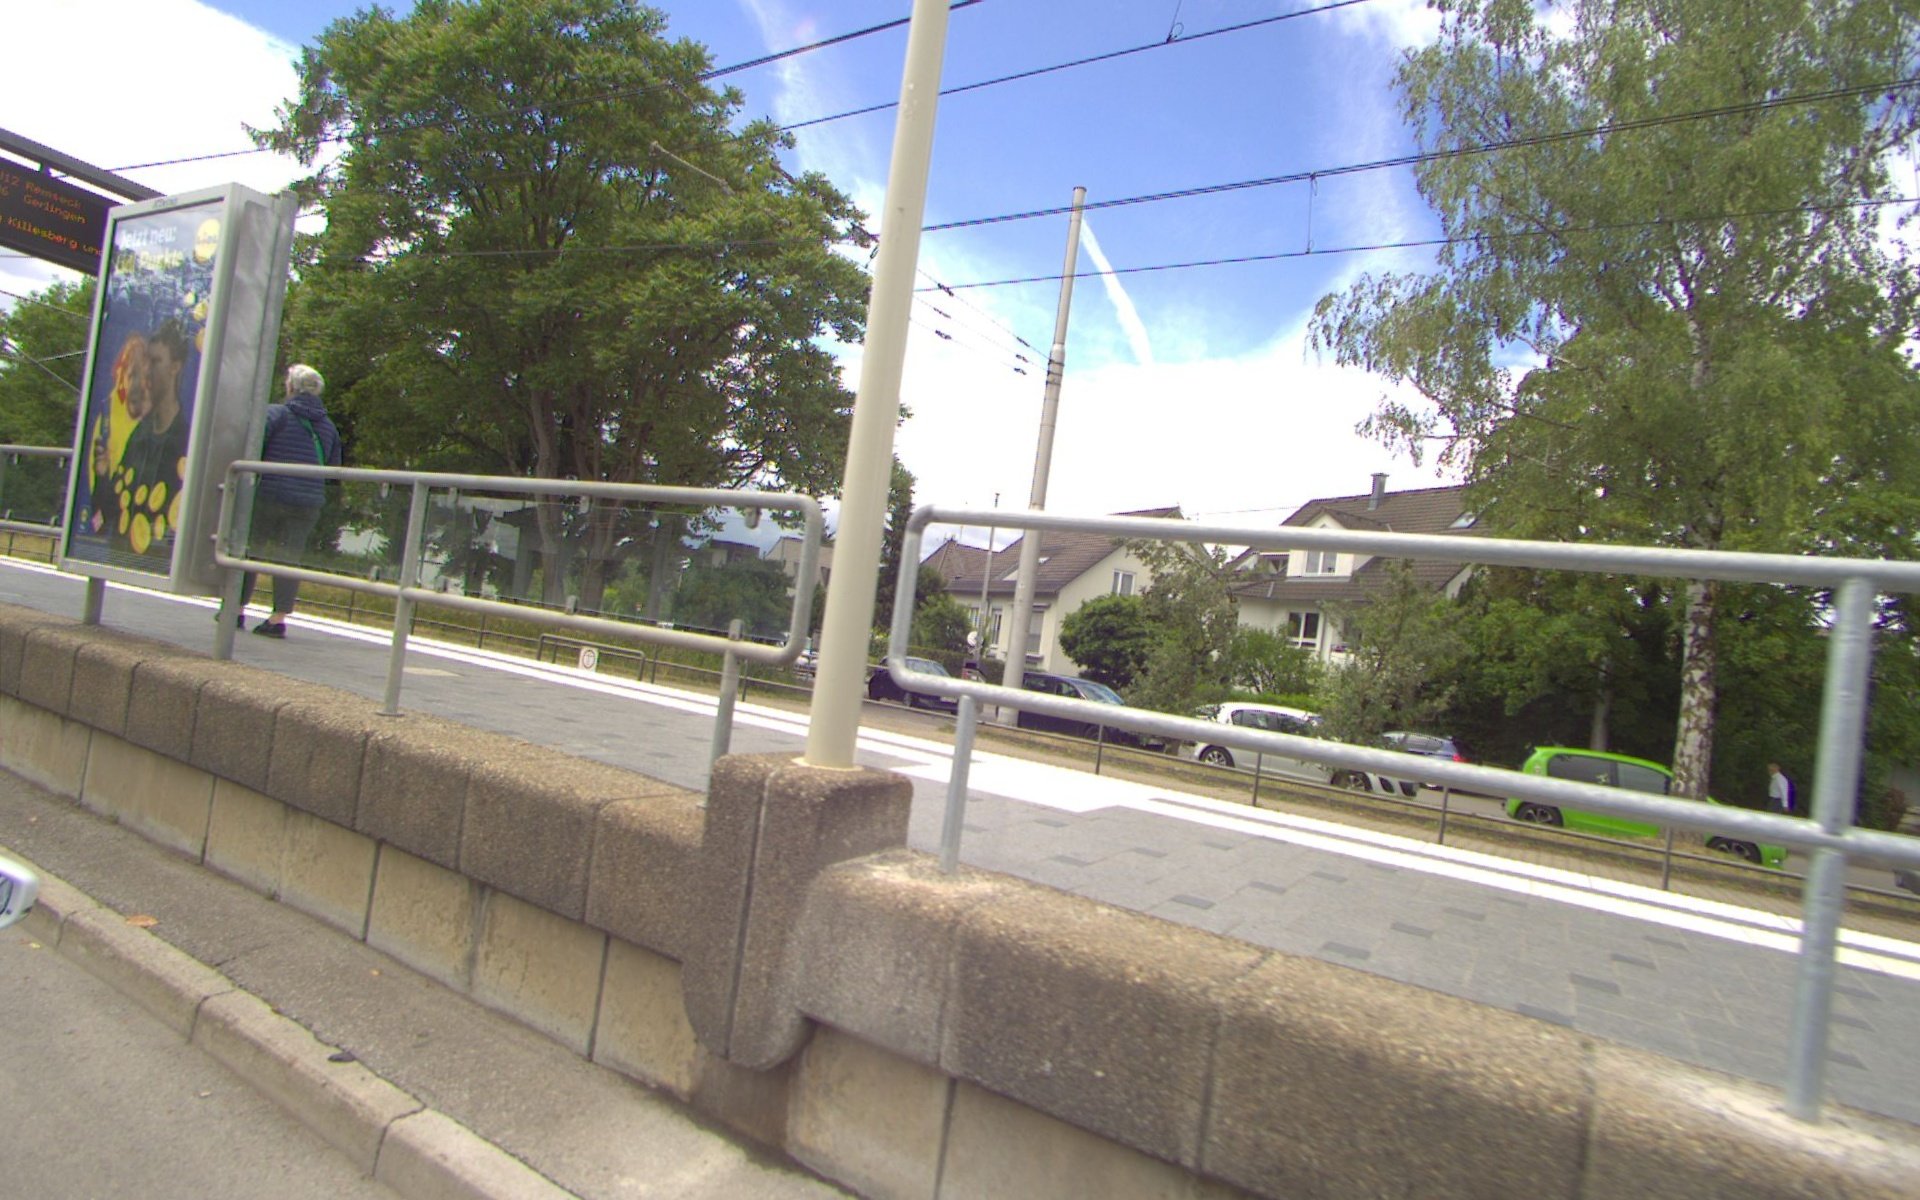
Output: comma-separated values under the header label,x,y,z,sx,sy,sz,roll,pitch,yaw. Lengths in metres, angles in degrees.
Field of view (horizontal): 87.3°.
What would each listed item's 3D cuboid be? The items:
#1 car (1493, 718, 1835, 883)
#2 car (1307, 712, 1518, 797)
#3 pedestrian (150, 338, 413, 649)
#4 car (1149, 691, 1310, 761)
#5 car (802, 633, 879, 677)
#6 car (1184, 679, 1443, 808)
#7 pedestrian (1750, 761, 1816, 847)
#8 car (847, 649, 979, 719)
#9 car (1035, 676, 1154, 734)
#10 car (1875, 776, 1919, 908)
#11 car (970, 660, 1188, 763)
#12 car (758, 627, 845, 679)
label,x,y,z,sx,sy,sz,roll,pitch,yaw
car,10.531,2.919,15.319,3.938,1.591,1.732,6,-3,36
car,12.218,4.161,27.429,1.751,1.505,4.874,9,-3,-41
pedestrian,-4.188,-0.622,6.236,0.895,1.690,0.887,7,-2,33
car,8.425,3.946,31.817,1.751,1.505,4.645,9,-3,-41
car,-6.128,2.754,51.074,1.808,1.654,4.199,10,-3,-38
car,6.427,2.559,18.462,4.037,1.591,1.758,6,-3,36
pedestrian,18.941,4.683,23.161,0.815,1.791,0.682,8,-2,-14
car,-1.428,2.300,28.303,1.744,1.503,4.472,9,-5,-29
car,4.769,3.731,36.020,1.752,1.505,3.855,9,-3,-43
car,14.300,3.373,12.337,4.195,1.591,2.066,6,-3,36
car,2.475,2.375,21.840,1.836,1.505,4.448,10,-3,-42
car,-7.310,2.387,45.997,1.750,1.864,4.455,10,-4,-38
